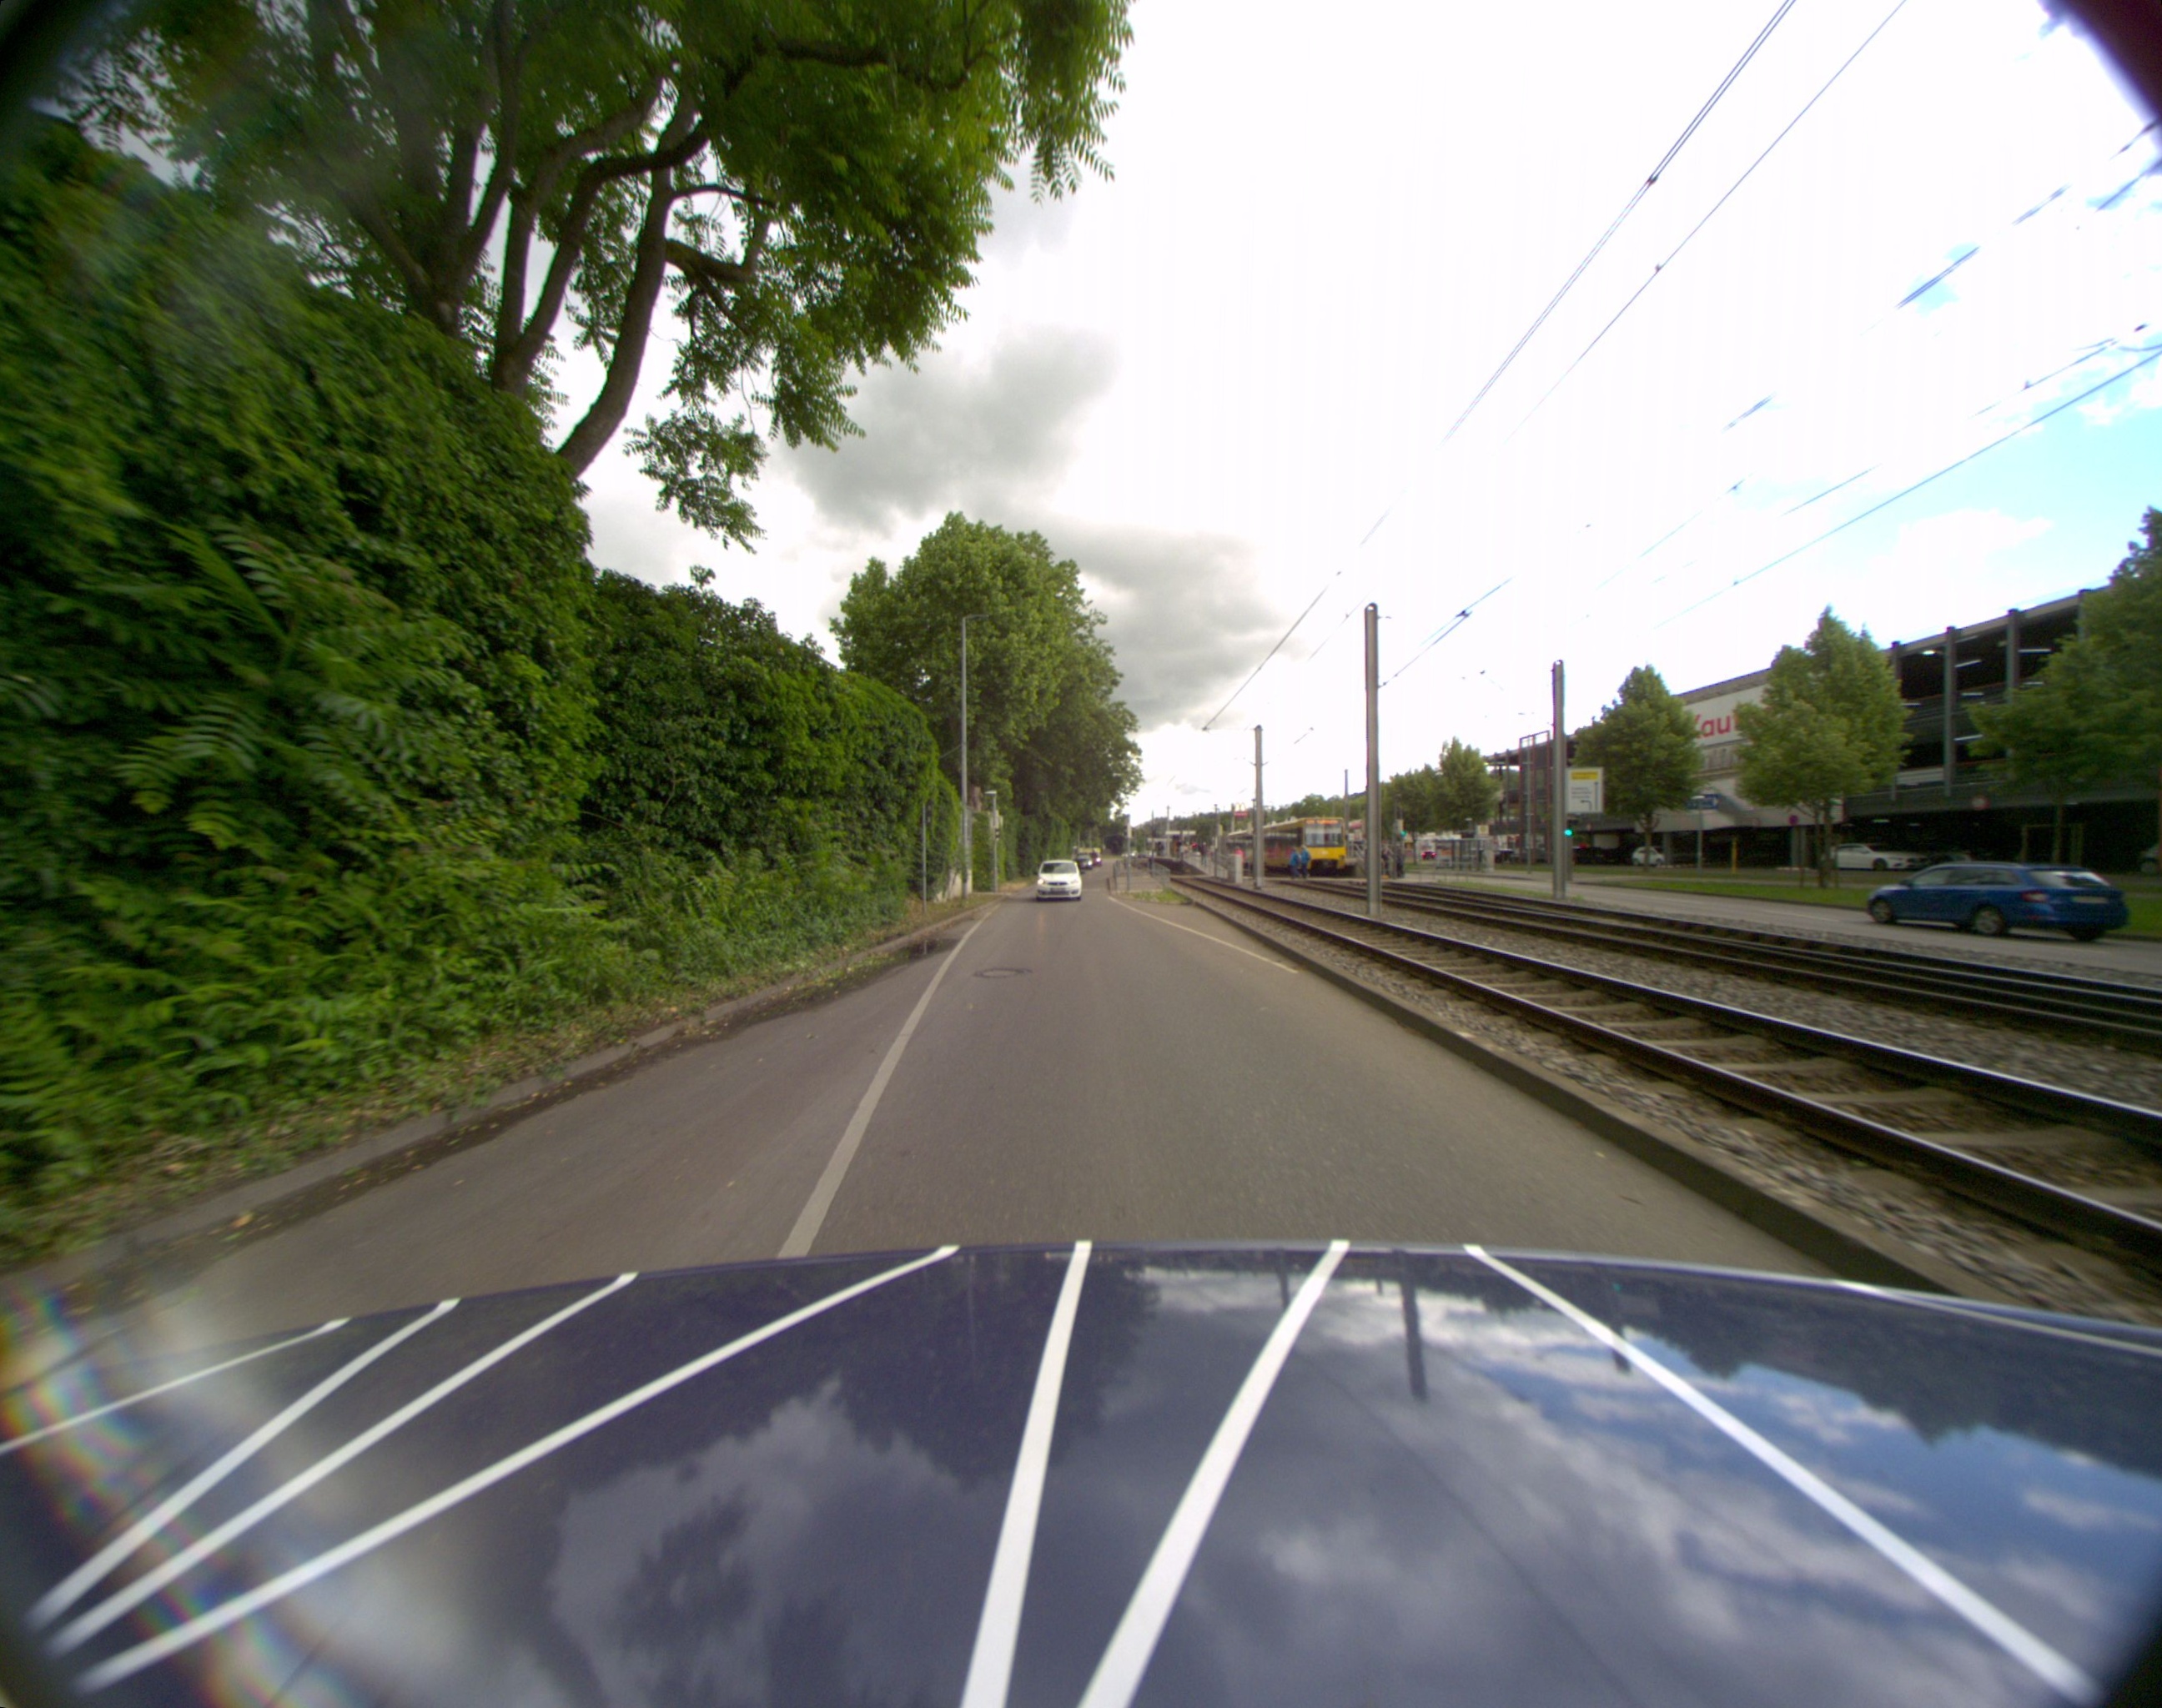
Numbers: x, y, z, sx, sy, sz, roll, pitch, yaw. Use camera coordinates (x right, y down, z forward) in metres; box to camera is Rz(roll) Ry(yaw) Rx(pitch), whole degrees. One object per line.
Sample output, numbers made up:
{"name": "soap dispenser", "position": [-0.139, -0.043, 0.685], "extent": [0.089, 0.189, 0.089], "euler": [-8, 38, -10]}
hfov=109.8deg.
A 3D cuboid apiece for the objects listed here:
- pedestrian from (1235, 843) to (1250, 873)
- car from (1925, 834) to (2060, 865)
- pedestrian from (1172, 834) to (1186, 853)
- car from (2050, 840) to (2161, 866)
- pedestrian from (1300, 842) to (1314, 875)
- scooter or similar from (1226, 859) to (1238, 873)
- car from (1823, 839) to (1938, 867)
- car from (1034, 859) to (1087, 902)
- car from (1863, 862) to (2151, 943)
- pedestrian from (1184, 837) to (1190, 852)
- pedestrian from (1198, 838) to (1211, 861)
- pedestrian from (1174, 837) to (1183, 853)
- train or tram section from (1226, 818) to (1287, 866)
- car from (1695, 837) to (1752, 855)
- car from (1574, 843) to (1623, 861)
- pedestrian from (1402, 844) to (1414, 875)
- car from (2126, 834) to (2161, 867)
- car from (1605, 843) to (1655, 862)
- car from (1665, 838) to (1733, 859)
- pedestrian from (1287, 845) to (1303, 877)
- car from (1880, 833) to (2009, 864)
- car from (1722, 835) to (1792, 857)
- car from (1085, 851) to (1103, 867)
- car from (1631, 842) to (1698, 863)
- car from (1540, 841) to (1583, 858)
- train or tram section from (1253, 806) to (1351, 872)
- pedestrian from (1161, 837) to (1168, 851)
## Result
{"name": "pedestrian", "position": [8.940, 0.237, 42.104], "extent": [0.613, 1.644, 0.797], "euler": [1, 1, 24]}
{"name": "car", "position": [45.841, -0.227, 38.374], "extent": [1.845, 1.424, 4.198], "euler": [1, 1, 2]}
{"name": "pedestrian", "position": [8.360, -0.892, 64.591], "extent": [0.878, 1.668, 0.743], "euler": [0, 2, -44]}
{"name": "car", "position": [49.950, -0.061, 37.022], "extent": [1.441, 1.217, 3.217], "euler": [1, 1, 3]}
{"name": "pedestrian", "position": [11.876, 0.229, 39.961], "extent": [0.656, 1.688, 0.729], "euler": [1, 1, 13]}
{"name": "scooter or similar", "position": [8.415, 0.660, 42.333], "extent": [0.496, 0.763, 0.800], "euler": [1, 1, 23]}
{"name": "car", "position": [40.541, -0.044, 38.675], "extent": [1.640, 1.316, 4.072], "euler": [-1, 0, 2]}
{"name": "car", "position": [-0.832, 0.943, 28.651], "extent": [1.674, 1.439, 3.602], "euler": [-2, 0, -7]}
{"name": "car", "position": [18.654, 0.902, 15.615], "extent": [1.663, 1.385, 3.721], "euler": [-1, 0, 7]}
{"name": "pedestrian", "position": [9.696, -0.889, 69.307], "extent": [0.480, 1.397, 0.411], "euler": [1, 1, 1]}
{"name": "pedestrian", "position": [8.773, -0.325, 53.954], "extent": [0.773, 1.668, 0.791], "euler": [1, 1, 2]}
{"name": "pedestrian", "position": [9.077, -0.838, 70.867], "extent": [0.519, 1.474, 0.583], "euler": [2, 2, 40]}
{"name": "train or tram section", "position": [16.296, -0.967, 72.154], "extent": [2.762, 3.860, 18.637], "euler": [-2, 0, 4]}
{"name": "car", "position": [54.503, -0.672, 64.533], "extent": [1.728, 1.506, 3.796], "euler": [1, 1, 3]}
{"name": "car", "position": [44.559, -0.181, 65.489], "extent": [1.728, 1.506, 3.796], "euler": [1, 1, 3]}
{"name": "pedestrian", "position": [17.786, 0.309, 41.326], "extent": [0.517, 1.652, 0.466], "euler": [1, 1, 13]}
{"name": "car", "position": [40.103, -0.131, 26.943], "extent": [1.441, 1.217, 3.475], "euler": [-1, 0, 4]}
{"name": "car", "position": [47.162, -0.153, 65.359], "extent": [1.728, 1.506, 3.796], "euler": [1, 1, 3]}
{"name": "car", "position": [43.880, -0.396, 54.050], "extent": [1.782, 1.395, 4.001], "euler": [-1, 0, 4]}
{"name": "pedestrian", "position": [11.026, 0.347, 39.210], "extent": [0.713, 1.602, 0.942], "euler": [1, 1, 13]}
{"name": "car", "position": [43.514, -0.273, 38.459], "extent": [1.845, 1.424, 4.198], "euler": [-1, 0, 2]}
{"name": "car", "position": [48.945, -0.563, 55.099], "extent": [1.758, 1.506, 3.870], "euler": [-1, 0, 3]}
{"name": "car", "position": [1.482, 0.515, 84.704], "extent": [1.896, 1.607, 4.508], "euler": [-2, 0, 2]}
{"name": "car", "position": [41.449, -0.133, 54.086], "extent": [1.782, 1.390, 4.001], "euler": [1, 1, 4]}
{"name": "car", "position": [44.725, -0.394, 70.847], "extent": [1.728, 1.506, 3.796], "euler": [-1, 0, 3]}
{"name": "train or tram section", "position": [14.952, -0.876, 53.538], "extent": [2.762, 3.806, 18.637], "euler": [-2, 0, 4]}
{"name": "pedestrian", "position": [10.256, -1.261, 93.098], "extent": [0.750, 1.734, 0.937], "euler": [1, 1, 2]}
